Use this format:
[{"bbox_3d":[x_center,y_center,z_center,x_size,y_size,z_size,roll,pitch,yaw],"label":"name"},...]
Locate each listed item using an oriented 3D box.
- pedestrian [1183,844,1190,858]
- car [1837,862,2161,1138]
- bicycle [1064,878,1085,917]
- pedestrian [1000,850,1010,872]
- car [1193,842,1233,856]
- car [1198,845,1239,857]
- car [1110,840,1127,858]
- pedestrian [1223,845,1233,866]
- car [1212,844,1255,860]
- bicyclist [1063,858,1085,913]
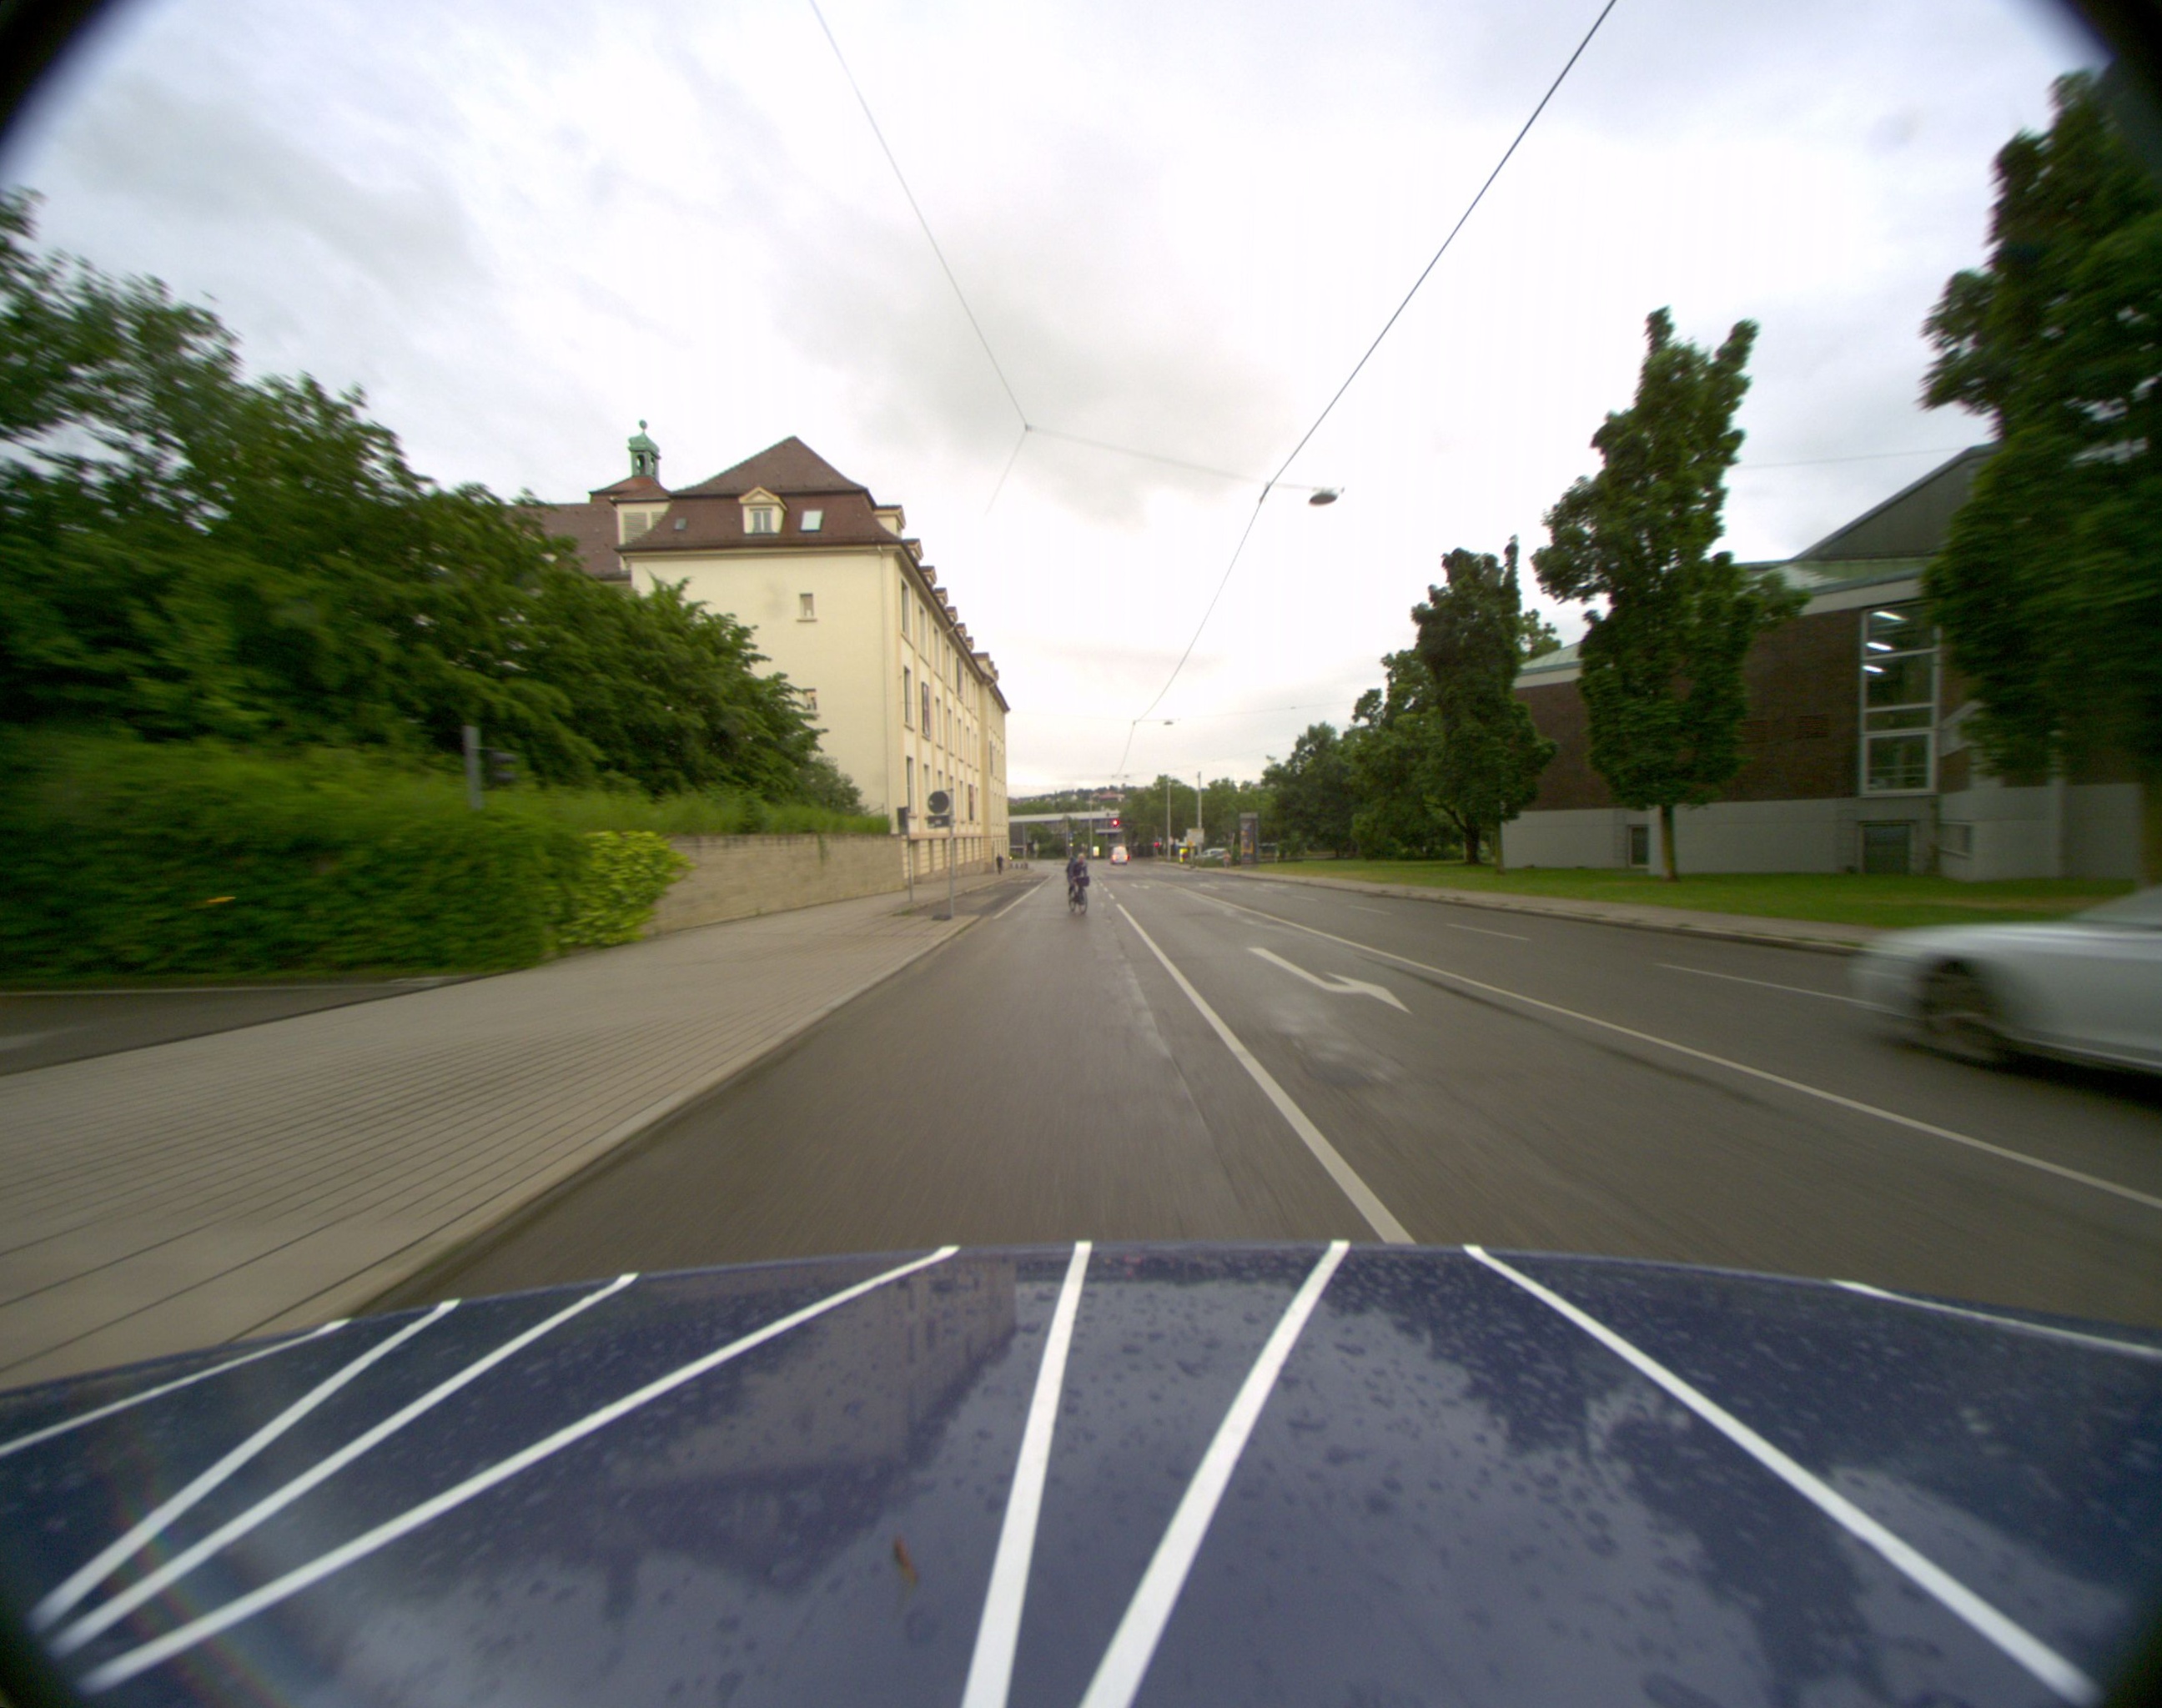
[{"bbox_3d":[13.464,-0.415,96.831,0.629,1.686,0.642,-3,2,-8],"label":"pedestrian"},{"bbox_3d":[6.812,0.822,3.351,1.886,1.482,5.220,0,0,2],"label":"car"},{"bbox_3d":[-0.163,1.150,20.639,0.448,0.957,1.690,-2,0,2],"label":"bicycle"},{"bbox_3d":[-6.297,0.593,63.033,0.671,1.787,0.852,0,1,1],"label":"pedestrian"},{"bbox_3d":[17.213,-0.647,99.396,4.710,1.745,2.020,-2,2,42],"label":"car"},{"bbox_3d":[16.639,-0.352,91.886,4.369,1.341,1.908,-2,1,30],"label":"car"},{"bbox_3d":[5.526,-0.722,112.510,1.988,2.514,5.630,-1,0,-2],"label":"car"},{"bbox_3d":[11.953,0.089,61.812,0.671,1.677,0.913,-2,2,7],"label":"pedestrian"},{"bbox_3d":[16.570,-0.153,82.566,1.871,1.600,4.515,-3,1,-34],"label":"car"},{"bbox_3d":[-0.188,0.839,20.680,0.485,1.425,0.930,-2,2,2],"label":"bicyclist"}]
